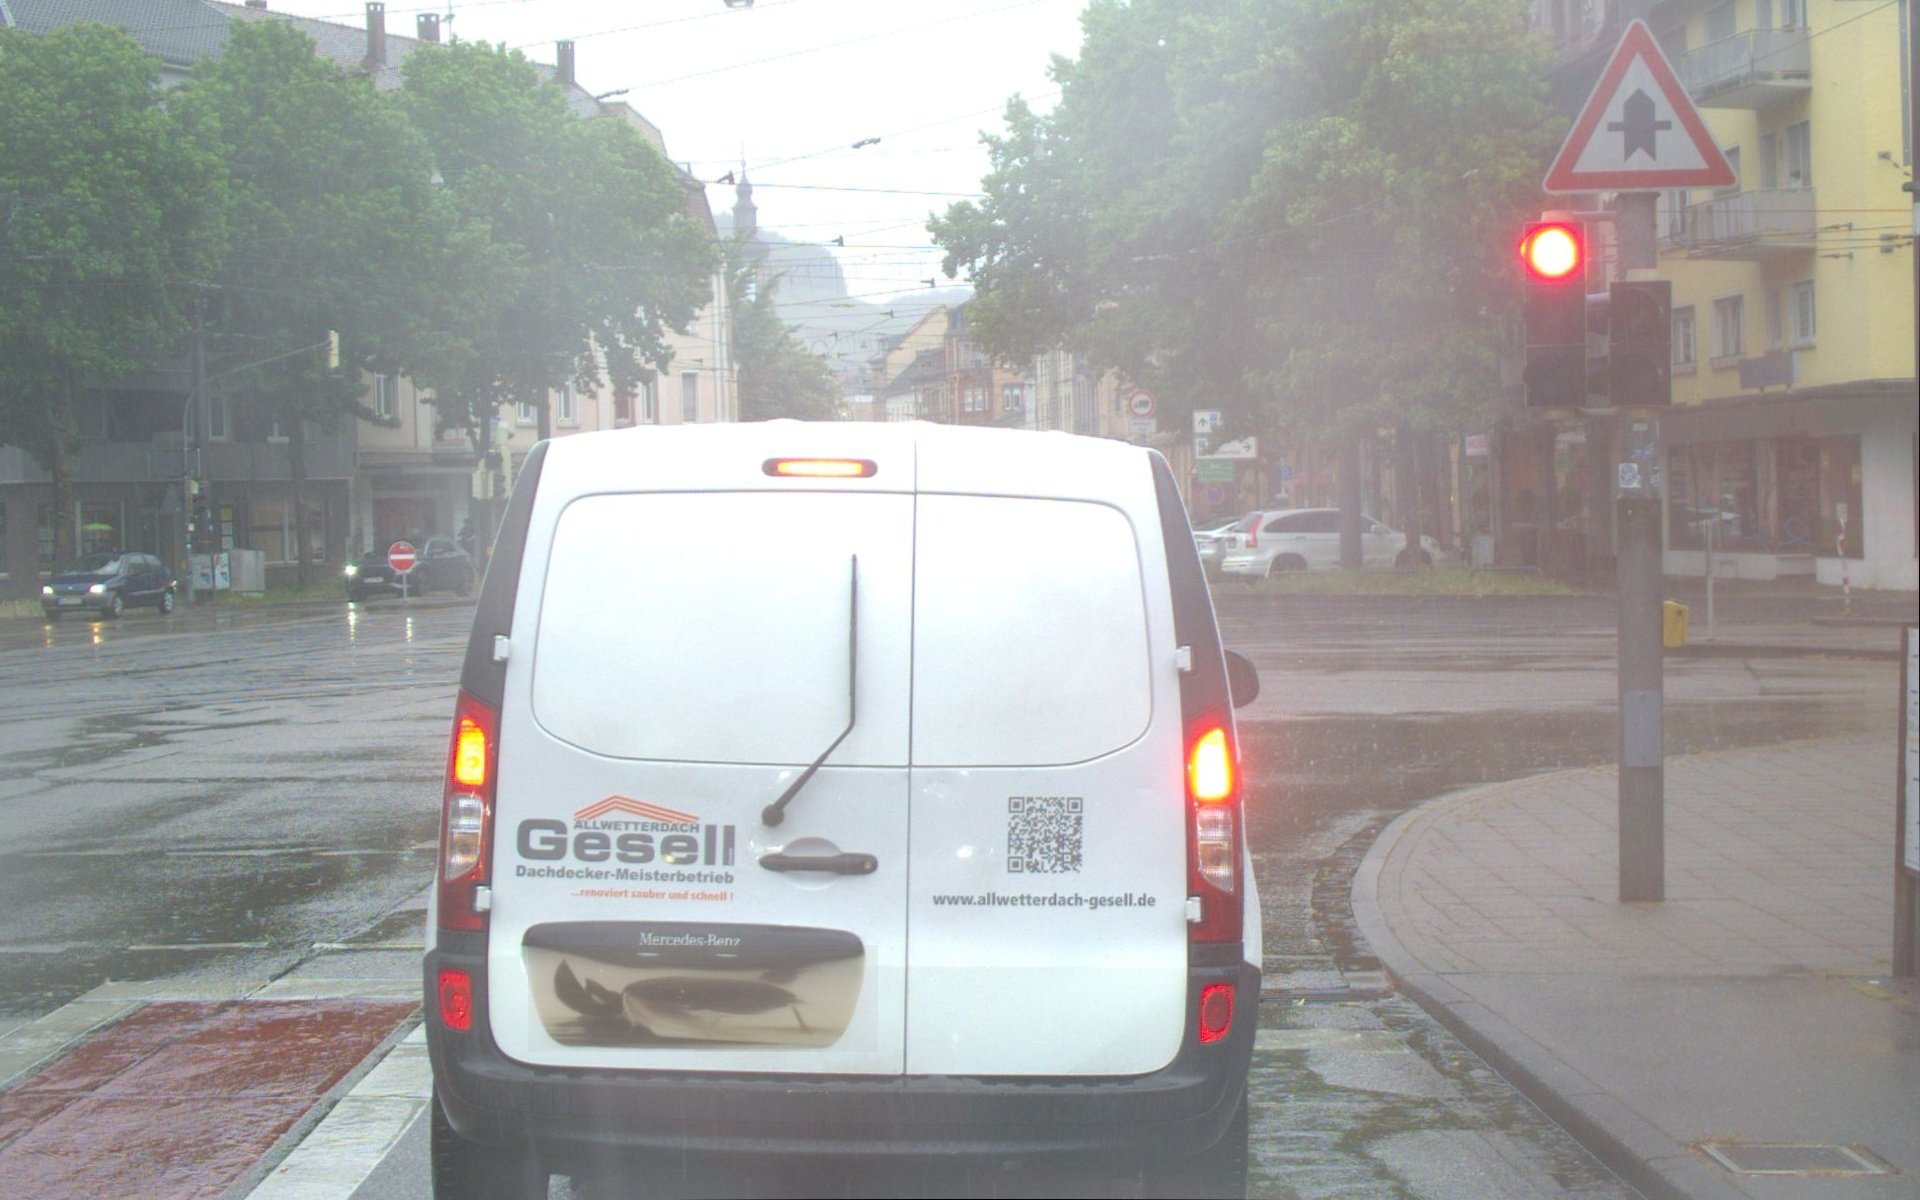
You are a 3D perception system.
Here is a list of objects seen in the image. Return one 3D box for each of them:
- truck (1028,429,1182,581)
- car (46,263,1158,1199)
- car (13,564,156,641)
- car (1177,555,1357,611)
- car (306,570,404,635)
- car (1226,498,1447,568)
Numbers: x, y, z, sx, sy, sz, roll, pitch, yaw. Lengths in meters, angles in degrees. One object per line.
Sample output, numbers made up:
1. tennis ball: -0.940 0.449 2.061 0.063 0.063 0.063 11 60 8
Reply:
1. truck: 5.317 -3.278 122.264 3.471 5.070 15.301 0 1 10
2. car: -0.705 0.341 9.017 2.100 2.005 4.963 0 1 -1
3. car: -18.176 0.026 71.573 1.993 1.450 4.001 -1 2 -1
4. car: 6.288 -0.351 70.547 3.441 1.126 1.472 0 1 -8
5. car: -15.082 0.052 85.901 1.783 1.546 4.000 0 1 -1
6. car: 7.538 -1.350 68.943 4.165 1.334 1.521 -1 2 -7
